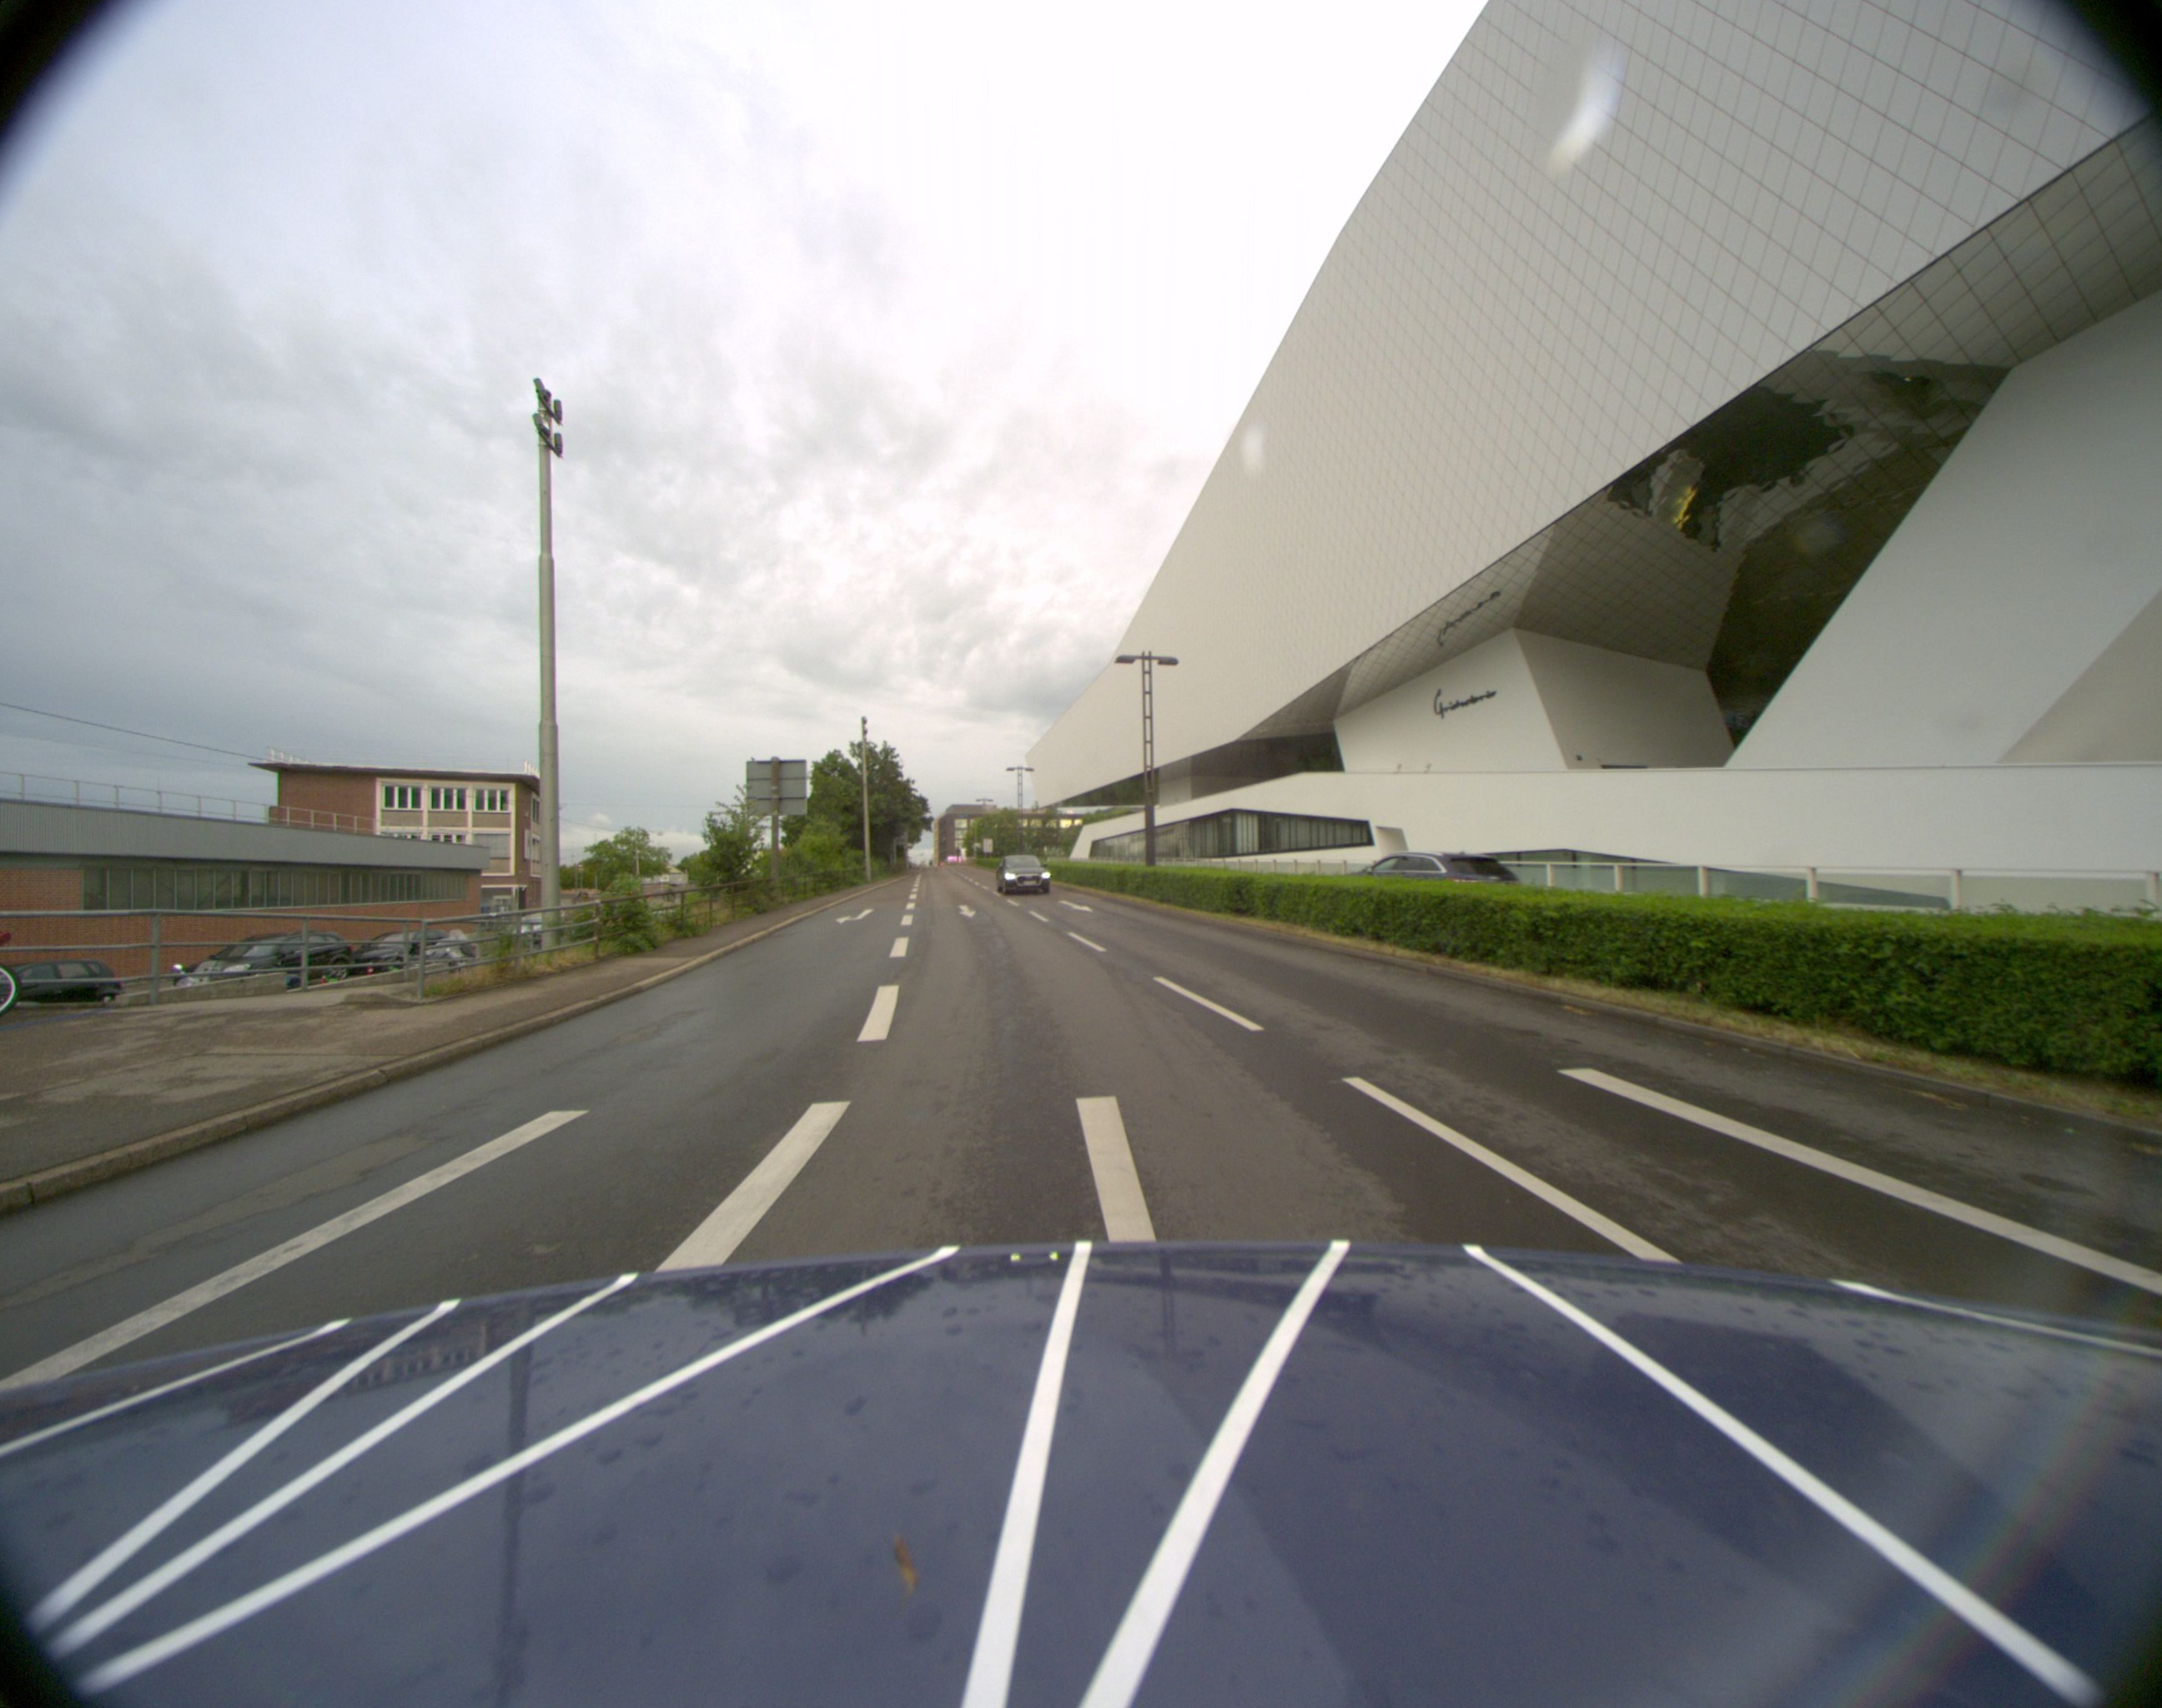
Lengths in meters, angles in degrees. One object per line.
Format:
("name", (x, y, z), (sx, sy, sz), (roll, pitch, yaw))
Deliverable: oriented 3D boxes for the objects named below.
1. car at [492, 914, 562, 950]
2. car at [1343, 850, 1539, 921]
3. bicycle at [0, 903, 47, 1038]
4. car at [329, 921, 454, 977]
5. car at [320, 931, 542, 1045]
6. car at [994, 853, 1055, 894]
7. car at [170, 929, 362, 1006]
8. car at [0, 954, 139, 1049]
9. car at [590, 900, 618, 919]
("car", (-30.072, 4.185, 41.409), (1.704, 1.546, 3.852), (-1, 0, -14))
("car", (7.607, 0.611, 16.537), (1.852, 1.330, 3.996), (-1, 0, -10))
("bicycle", (-10.583, 1.058, 6.525), (1.935, 1.171, 0.598), (-1, 1, -26))
("car", (-25.739, 3.499, 28.564), (1.704, 1.546, 3.853), (-1, 0, -12))
("car", (-12.788, 2.540, 15.297), (1.704, 1.546, 3.853), (-1, 0, -12))
("car", (-2.412, 0.760, 31.652), (1.843, 1.574, 4.284), (-1, 0, -13))
("car", (-24.340, 3.299, 22.961), (1.638, 1.621, 4.425), (-1, 0, -12))
("car", (-23.233, 3.228, 16.252), (1.704, 1.618, 3.927), (-1, 0, -11))
("car", (-42.060, 4.834, 67.086), (1.670, 1.387, 3.992), (-2, 0, -27))
